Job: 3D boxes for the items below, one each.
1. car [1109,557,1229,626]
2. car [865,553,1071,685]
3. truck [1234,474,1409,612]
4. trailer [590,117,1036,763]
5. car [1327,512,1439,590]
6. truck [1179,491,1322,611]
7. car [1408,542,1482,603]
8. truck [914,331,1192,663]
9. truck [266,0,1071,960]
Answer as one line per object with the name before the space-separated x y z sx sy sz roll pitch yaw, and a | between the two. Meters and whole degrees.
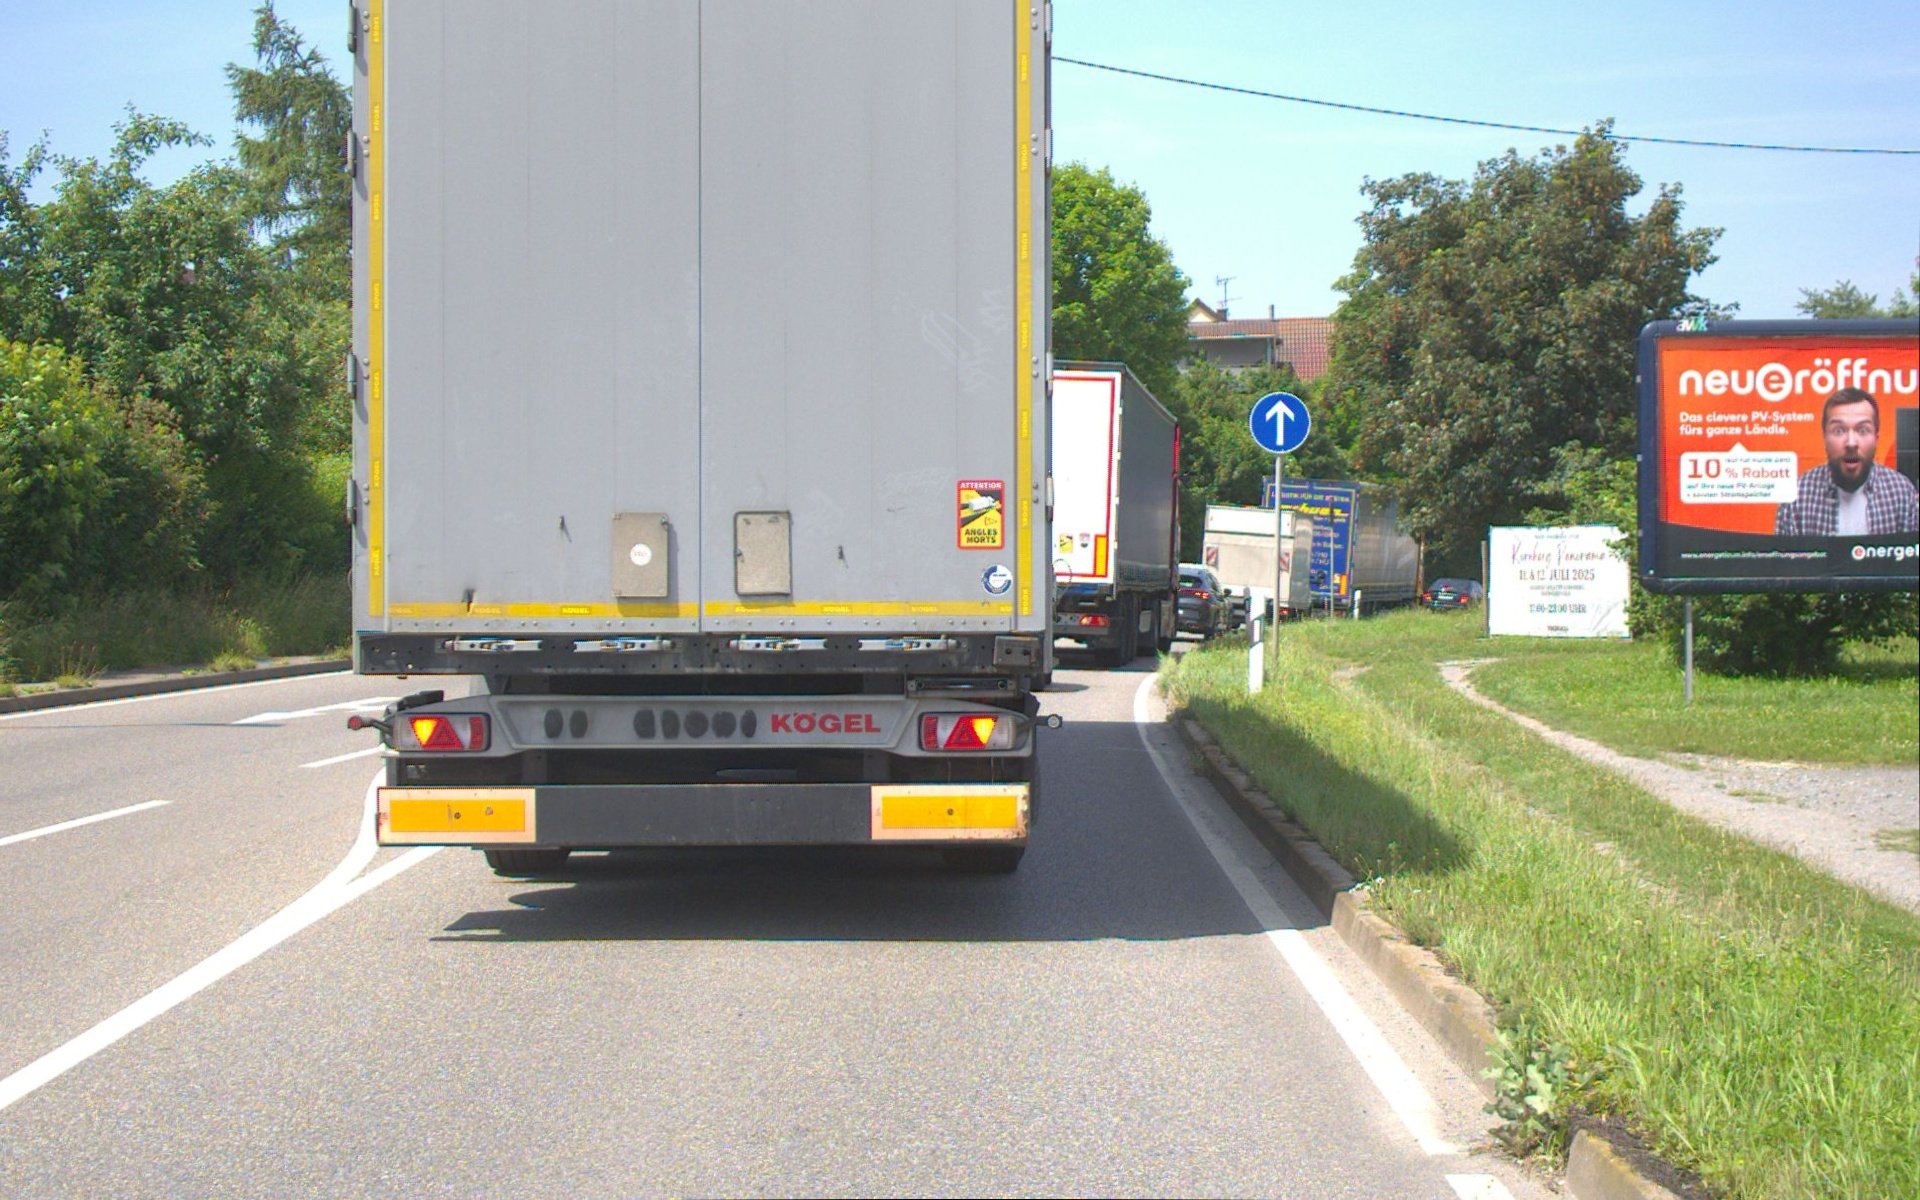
car | 4.435 -0.174 72.459 1.994 1.371 3.998 1 0 11
car | 0.143 0.192 37.869 1.819 1.342 3.846 1 0 7
truck | 10.090 -1.609 94.967 3.435 3.592 9.348 1 2 14
trailer | -0.920 -1.088 25.185 2.825 4.097 6.544 0 1 0
car | 13.001 -1.516 105.369 2.533 2.269 6.377 1 1 15
truck | 7.120 -1.157 83.591 2.545 2.793 6.028 1 0 14
car | 16.537 -0.924 117.183 1.995 2.007 3.997 1 0 15
truck | 1.749 -1.369 52.801 2.761 4.274 16.411 1 0 7
truck | -0.989 -0.920 17.923 2.822 4.113 11.444 1 1 0
